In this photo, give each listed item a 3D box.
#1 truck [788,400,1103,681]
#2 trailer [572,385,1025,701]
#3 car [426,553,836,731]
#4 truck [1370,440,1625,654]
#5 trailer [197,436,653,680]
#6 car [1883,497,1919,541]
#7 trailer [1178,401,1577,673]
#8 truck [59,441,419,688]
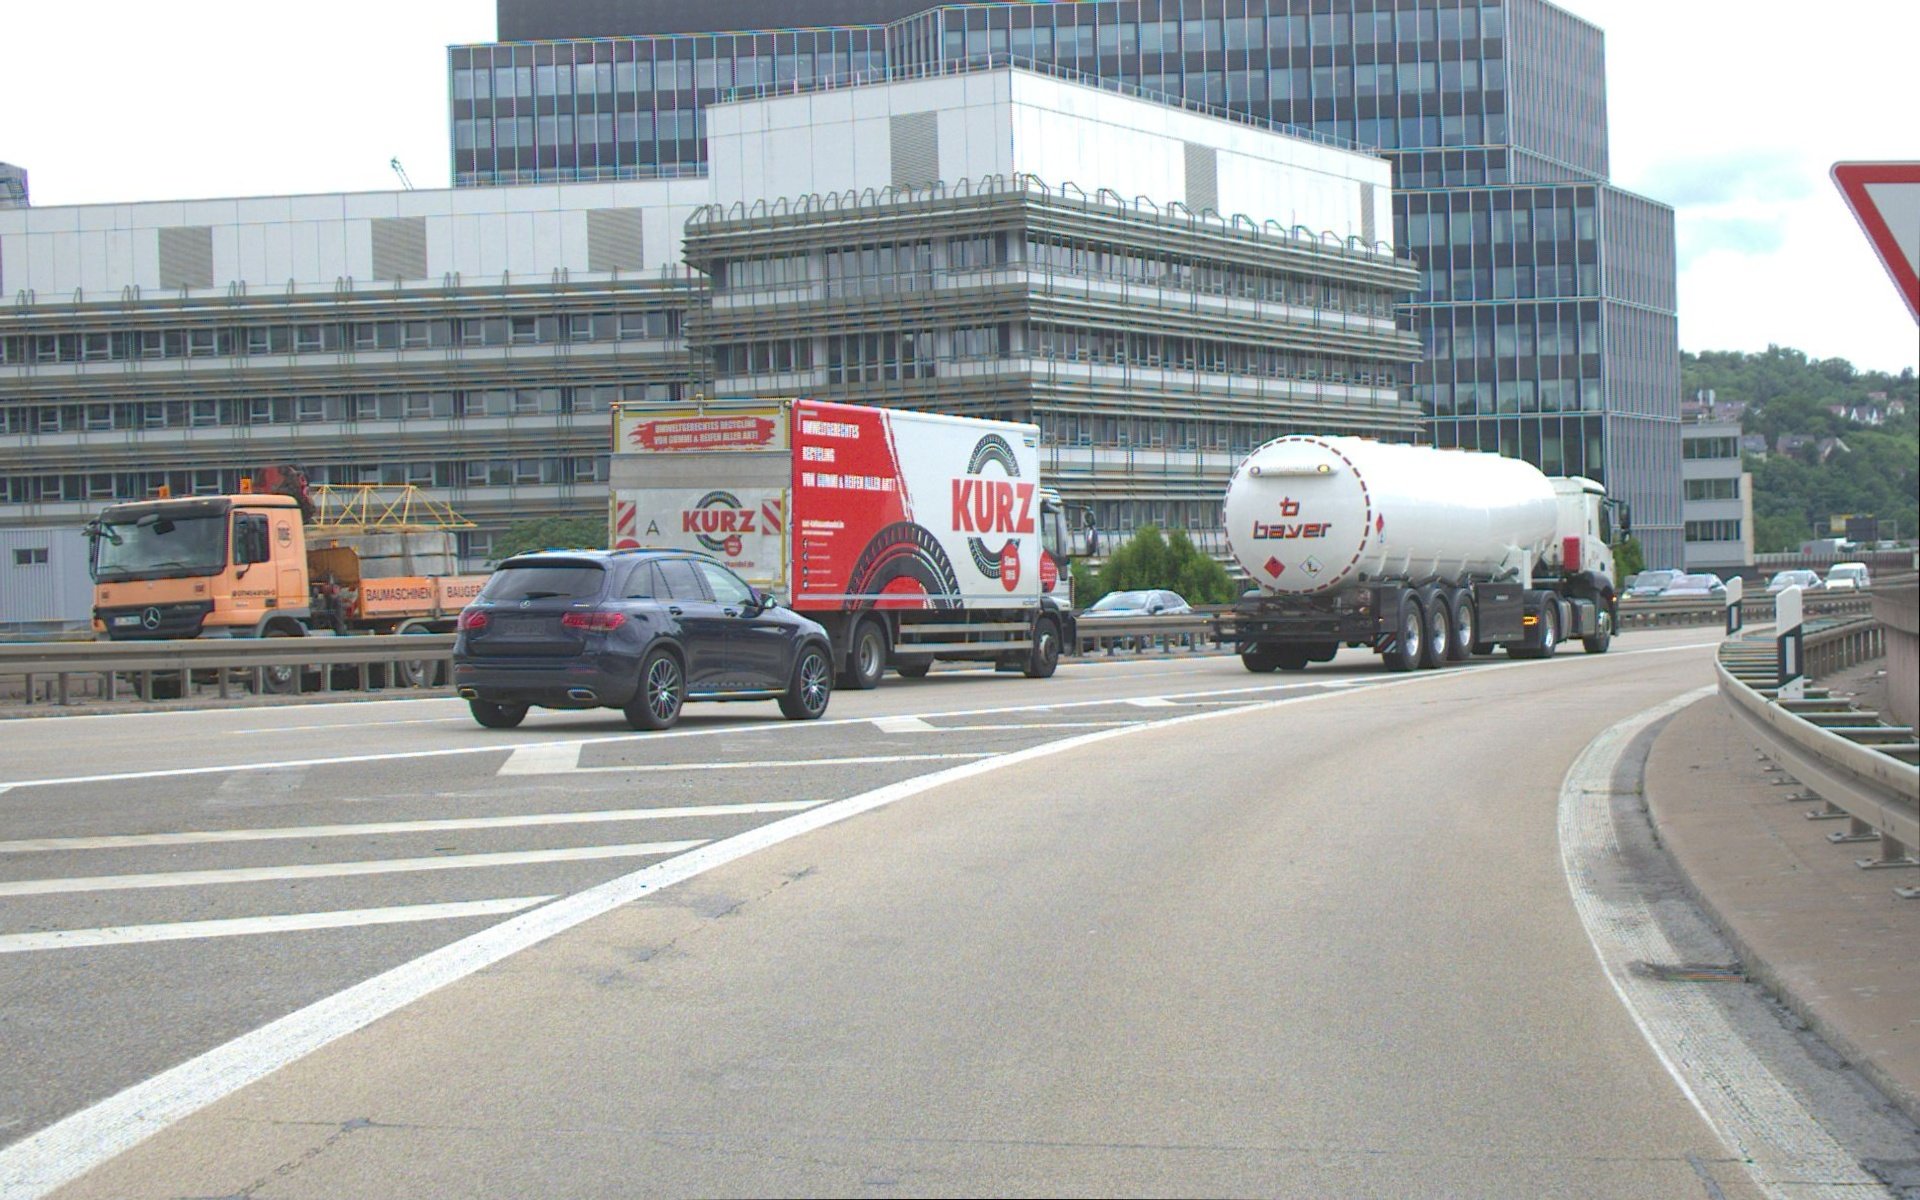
[{"bbox_3d":[-0.137,-0.810,48.050,2.694,3.677,4.433,-2,0,25],"label":"truck"},{"bbox_3d":[-1.896,-0.715,44.186,2.694,3.677,7.304,-2,0,24],"label":"trailer"},{"bbox_3d":[-2.949,0.344,31.750,1.849,1.499,4.259,1,1,25],"label":"car"},{"bbox_3d":[9.300,-0.900,58.984,2.772,3.419,5.958,-2,0,24],"label":"truck"},{"bbox_3d":[-8.576,-0.699,56.680,2.738,3.624,9.345,-2,0,24],"label":"trailer"},{"bbox_3d":[39.900,-3.453,143.661,1.644,1.230,4.277,-7,5,27],"label":"car"},{"bbox_3d":[6.744,-0.959,53.399,2.795,3.725,11.141,-2,0,25],"label":"trailer"},{"bbox_3d":[-10.758,-0.531,51.712,2.745,3.468,5.100,-2,0,24],"label":"truck"}]
